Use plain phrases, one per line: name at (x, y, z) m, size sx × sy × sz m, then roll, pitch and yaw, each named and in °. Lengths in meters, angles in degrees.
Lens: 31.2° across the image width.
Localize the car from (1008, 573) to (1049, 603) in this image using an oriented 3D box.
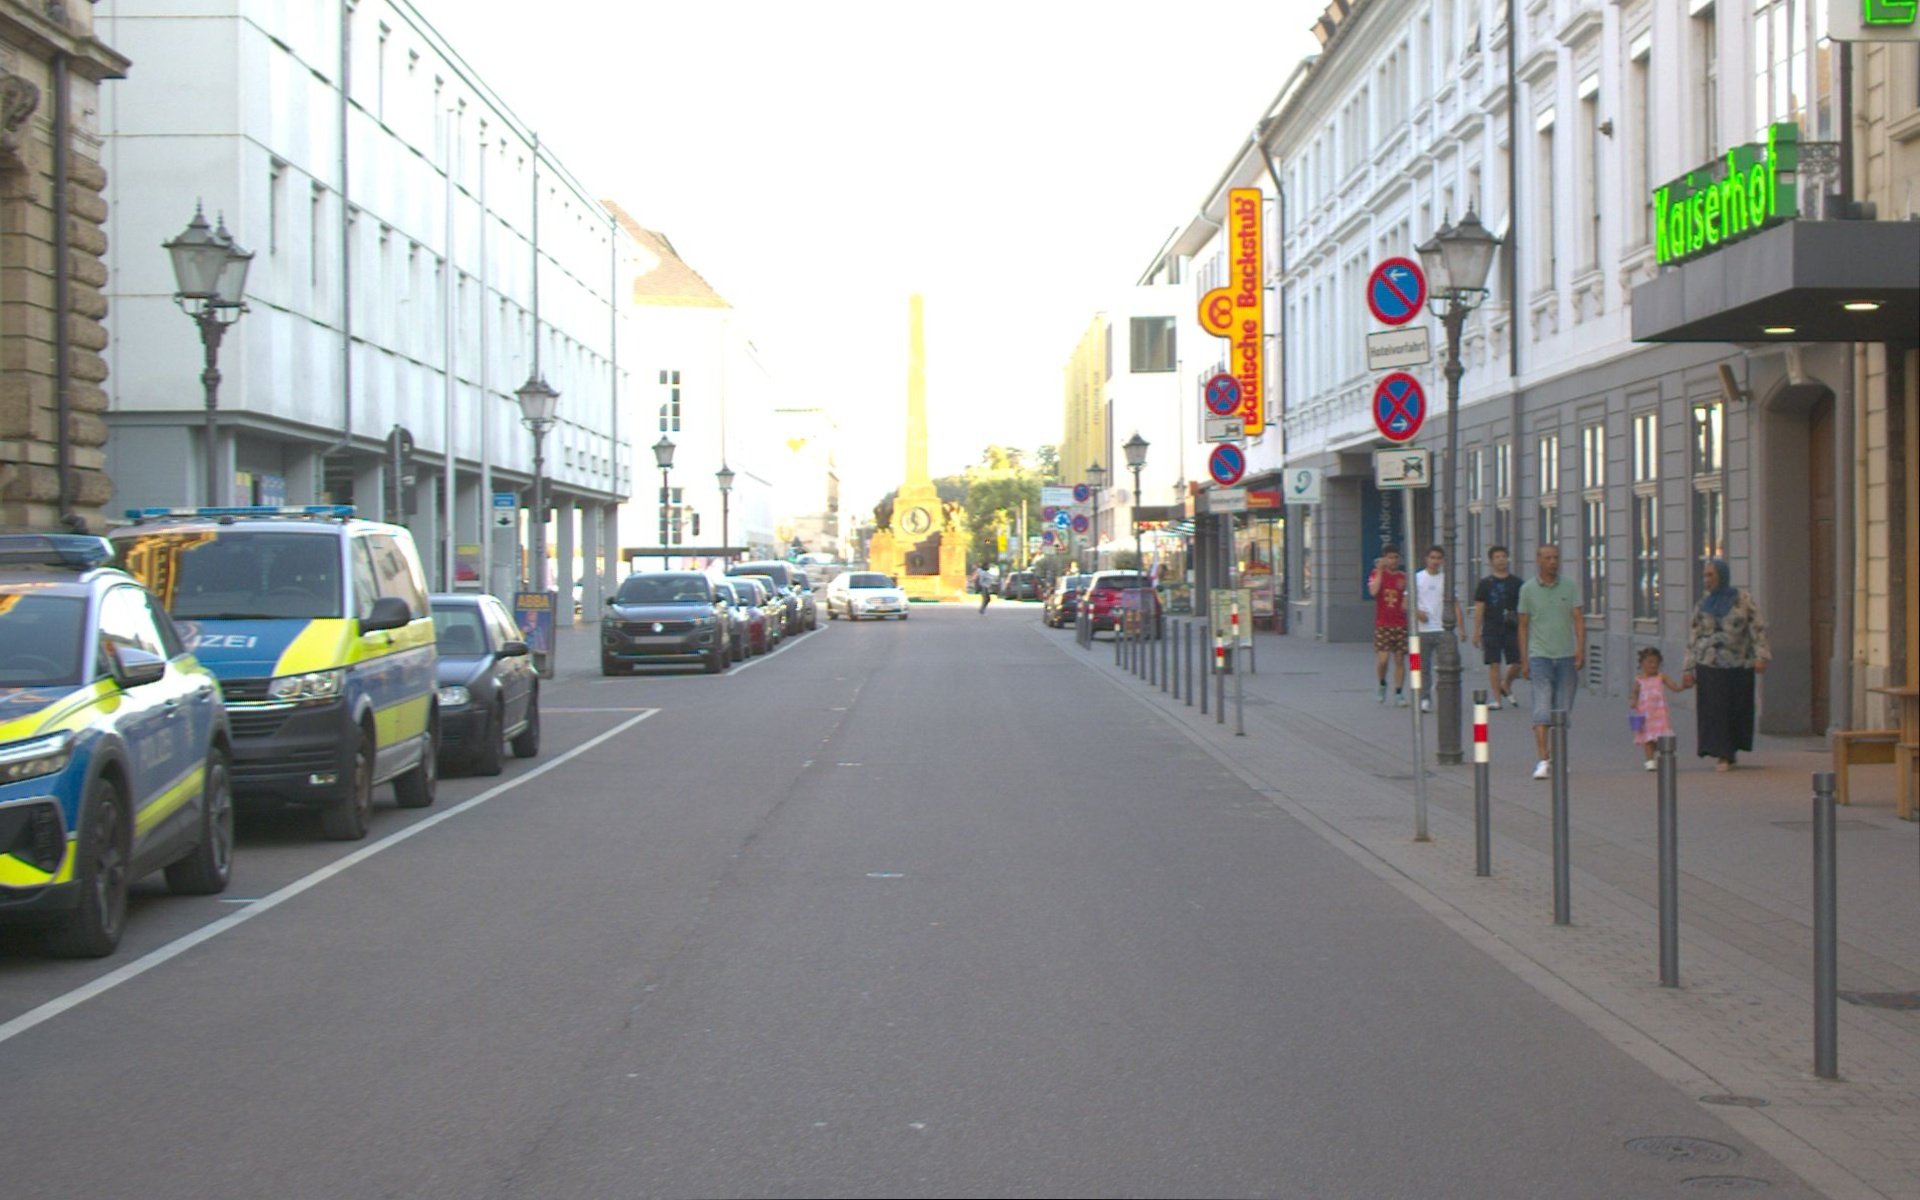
car at (3.452, -0.602, 172.271) m, size 1.993 × 1.459 × 4.000 m, roll 0°, pitch 0°, yaw 1°

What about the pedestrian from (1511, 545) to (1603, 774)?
pedestrian at (4.552, 0.445, 26.218) m, size 0.607 × 1.724 × 0.558 m, roll 0°, pitch 0°, yaw 1°

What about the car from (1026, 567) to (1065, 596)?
car at (4.505, -0.973, 180.731) m, size 1.993 × 1.459 × 4.000 m, roll 0°, pitch 0°, yaw 1°

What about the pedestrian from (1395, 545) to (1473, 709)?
pedestrian at (5.032, 0.282, 36.522) m, size 0.748 × 1.724 × 0.881 m, roll 0°, pitch 0°, yaw 3°

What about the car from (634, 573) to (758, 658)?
car at (-4.574, 0.242, 59.972) m, size 1.785 × 1.404 × 4.088 m, roll -1°, pitch 1°, yaw 1°

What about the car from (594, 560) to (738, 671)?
car at (-4.463, 0.206, 52.677) m, size 1.785 × 1.609 × 4.166 m, roll -1°, pitch 1°, yaw 1°

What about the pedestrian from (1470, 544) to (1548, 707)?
pedestrian at (5.877, 0.270, 36.838) m, size 0.713 × 1.724 × 0.873 m, roll 0°, pitch 0°, yaw 2°

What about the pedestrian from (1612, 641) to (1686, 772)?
pedestrian at (5.251, 0.810, 26.229) m, size 0.460 × 0.976 × 0.558 m, roll 0°, pitch 0°, yaw 1°

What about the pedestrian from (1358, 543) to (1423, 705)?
pedestrian at (4.787, 0.261, 38.246) m, size 0.620 × 1.783 × 0.913 m, roll 0°, pitch 0°, yaw 1°

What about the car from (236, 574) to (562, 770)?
car at (-4.566, 0.545, 28.582) m, size 1.993 × 1.489 × 4.164 m, roll -1°, pitch 0°, yaw 0°

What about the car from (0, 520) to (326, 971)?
car at (-4.405, 0.564, 15.845) m, size 1.993 × 1.746 × 4.990 m, roll -1°, pitch 0°, yaw 0°

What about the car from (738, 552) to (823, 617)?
car at (-4.637, -0.406, 89.249) m, size 1.993 × 1.656 × 4.000 m, roll 0°, pitch 1°, yaw 0°

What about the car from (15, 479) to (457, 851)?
car at (-4.444, 0.362, 21.880) m, size 1.993 × 2.070 × 4.990 m, roll -1°, pitch 0°, yaw -3°

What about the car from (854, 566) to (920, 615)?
car at (-2.144, -0.308, 101.768) m, size 1.785 × 1.404 × 4.088 m, roll -1°, pitch 1°, yaw 1°

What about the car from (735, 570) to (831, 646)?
car at (-4.223, 0.169, 82.444) m, size 1.993 × 1.722 × 4.516 m, roll -2°, pitch 1°, yaw 0°

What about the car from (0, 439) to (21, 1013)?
car at (-4.498, 0.476, 10.110) m, size 1.993 × 2.080 × 5.207 m, roll -1°, pitch 0°, yaw 0°

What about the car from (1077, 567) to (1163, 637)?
car at (3.550, 0.030, 76.752) m, size 1.759 × 1.518 × 3.677 m, roll 0°, pitch 1°, yaw 0°

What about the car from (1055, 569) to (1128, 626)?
car at (3.447, -0.092, 90.696) m, size 1.801 × 1.459 × 4.117 m, roll 0°, pitch 1°, yaw 0°

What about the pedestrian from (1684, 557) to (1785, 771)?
pedestrian at (5.864, 0.476, 26.051) m, size 0.630 × 1.595 × 0.615 m, roll 0°, pitch 0°, yaw 1°
